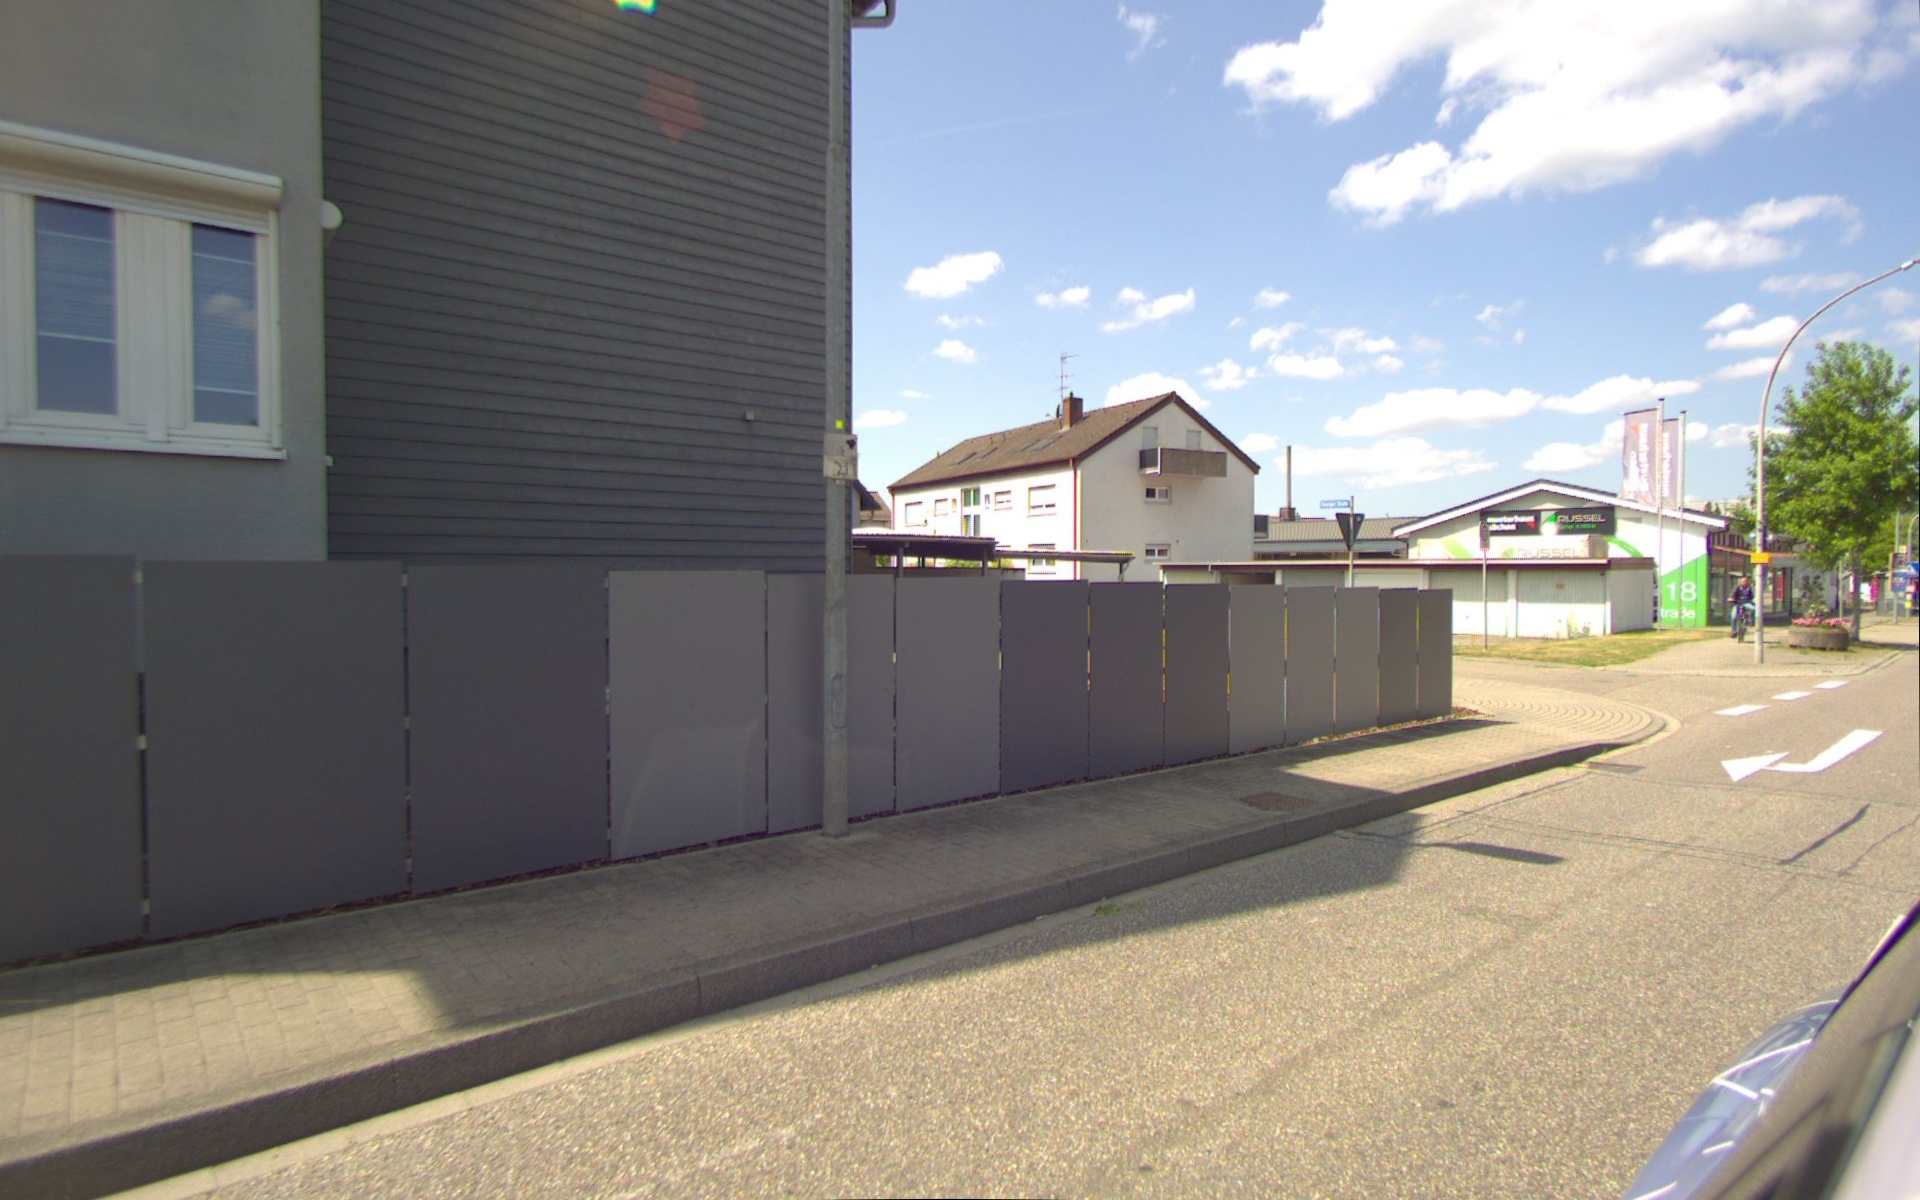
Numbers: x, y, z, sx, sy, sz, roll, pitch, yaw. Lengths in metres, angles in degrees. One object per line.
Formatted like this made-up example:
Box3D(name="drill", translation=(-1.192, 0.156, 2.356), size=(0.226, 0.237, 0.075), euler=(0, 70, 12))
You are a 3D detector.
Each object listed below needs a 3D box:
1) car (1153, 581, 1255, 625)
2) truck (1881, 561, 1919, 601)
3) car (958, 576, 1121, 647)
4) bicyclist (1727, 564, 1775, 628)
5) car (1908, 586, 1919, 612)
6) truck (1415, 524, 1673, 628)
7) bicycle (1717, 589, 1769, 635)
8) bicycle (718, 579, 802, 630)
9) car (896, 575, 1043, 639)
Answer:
Box3D(name="car", translation=(9.071, 0.063, 37.531), size=(4.060, 1.522, 1.678), euler=(-1, 1, -42))
Box3D(name="truck", translation=(69.207, -1.399, 73.978), size=(2.570, 2.795, 6.241), euler=(3, 3, 41))
Box3D(name="car", translation=(2.104, 0.300, 26.062), size=(4.140, 1.669, 1.740), euler=(2, 0, -40))
Box3D(name="bicyclist", translation=(21.143, -0.103, 27.054), size=(1.093, 1.651, 0.803), euler=(1, -3, -45))
Box3D(name="car", translation=(59.831, -0.051, 62.409), size=(3.698, 1.511, 1.727), euler=(-1, 3, -44))
Box3D(name="truck", translation=(22.191, -0.905, 38.903), size=(2.633, 3.617, 8.179), euler=(-2, 2, -43))
Box3D(name="bicycle", translation=(21.084, 0.331, 27.233), size=(1.911, 1.180, 0.803), euler=(0, -3, -45))
Box3D(name="bicycle", translation=(-4.887, 0.119, 24.849), size=(1.917, 1.187, 0.649), euler=(2, 0, -39))
Box3D(name="car", translation=(0.297, 0.204, 27.869), size=(3.784, 1.607, 1.740), euler=(2, 1, -40))
